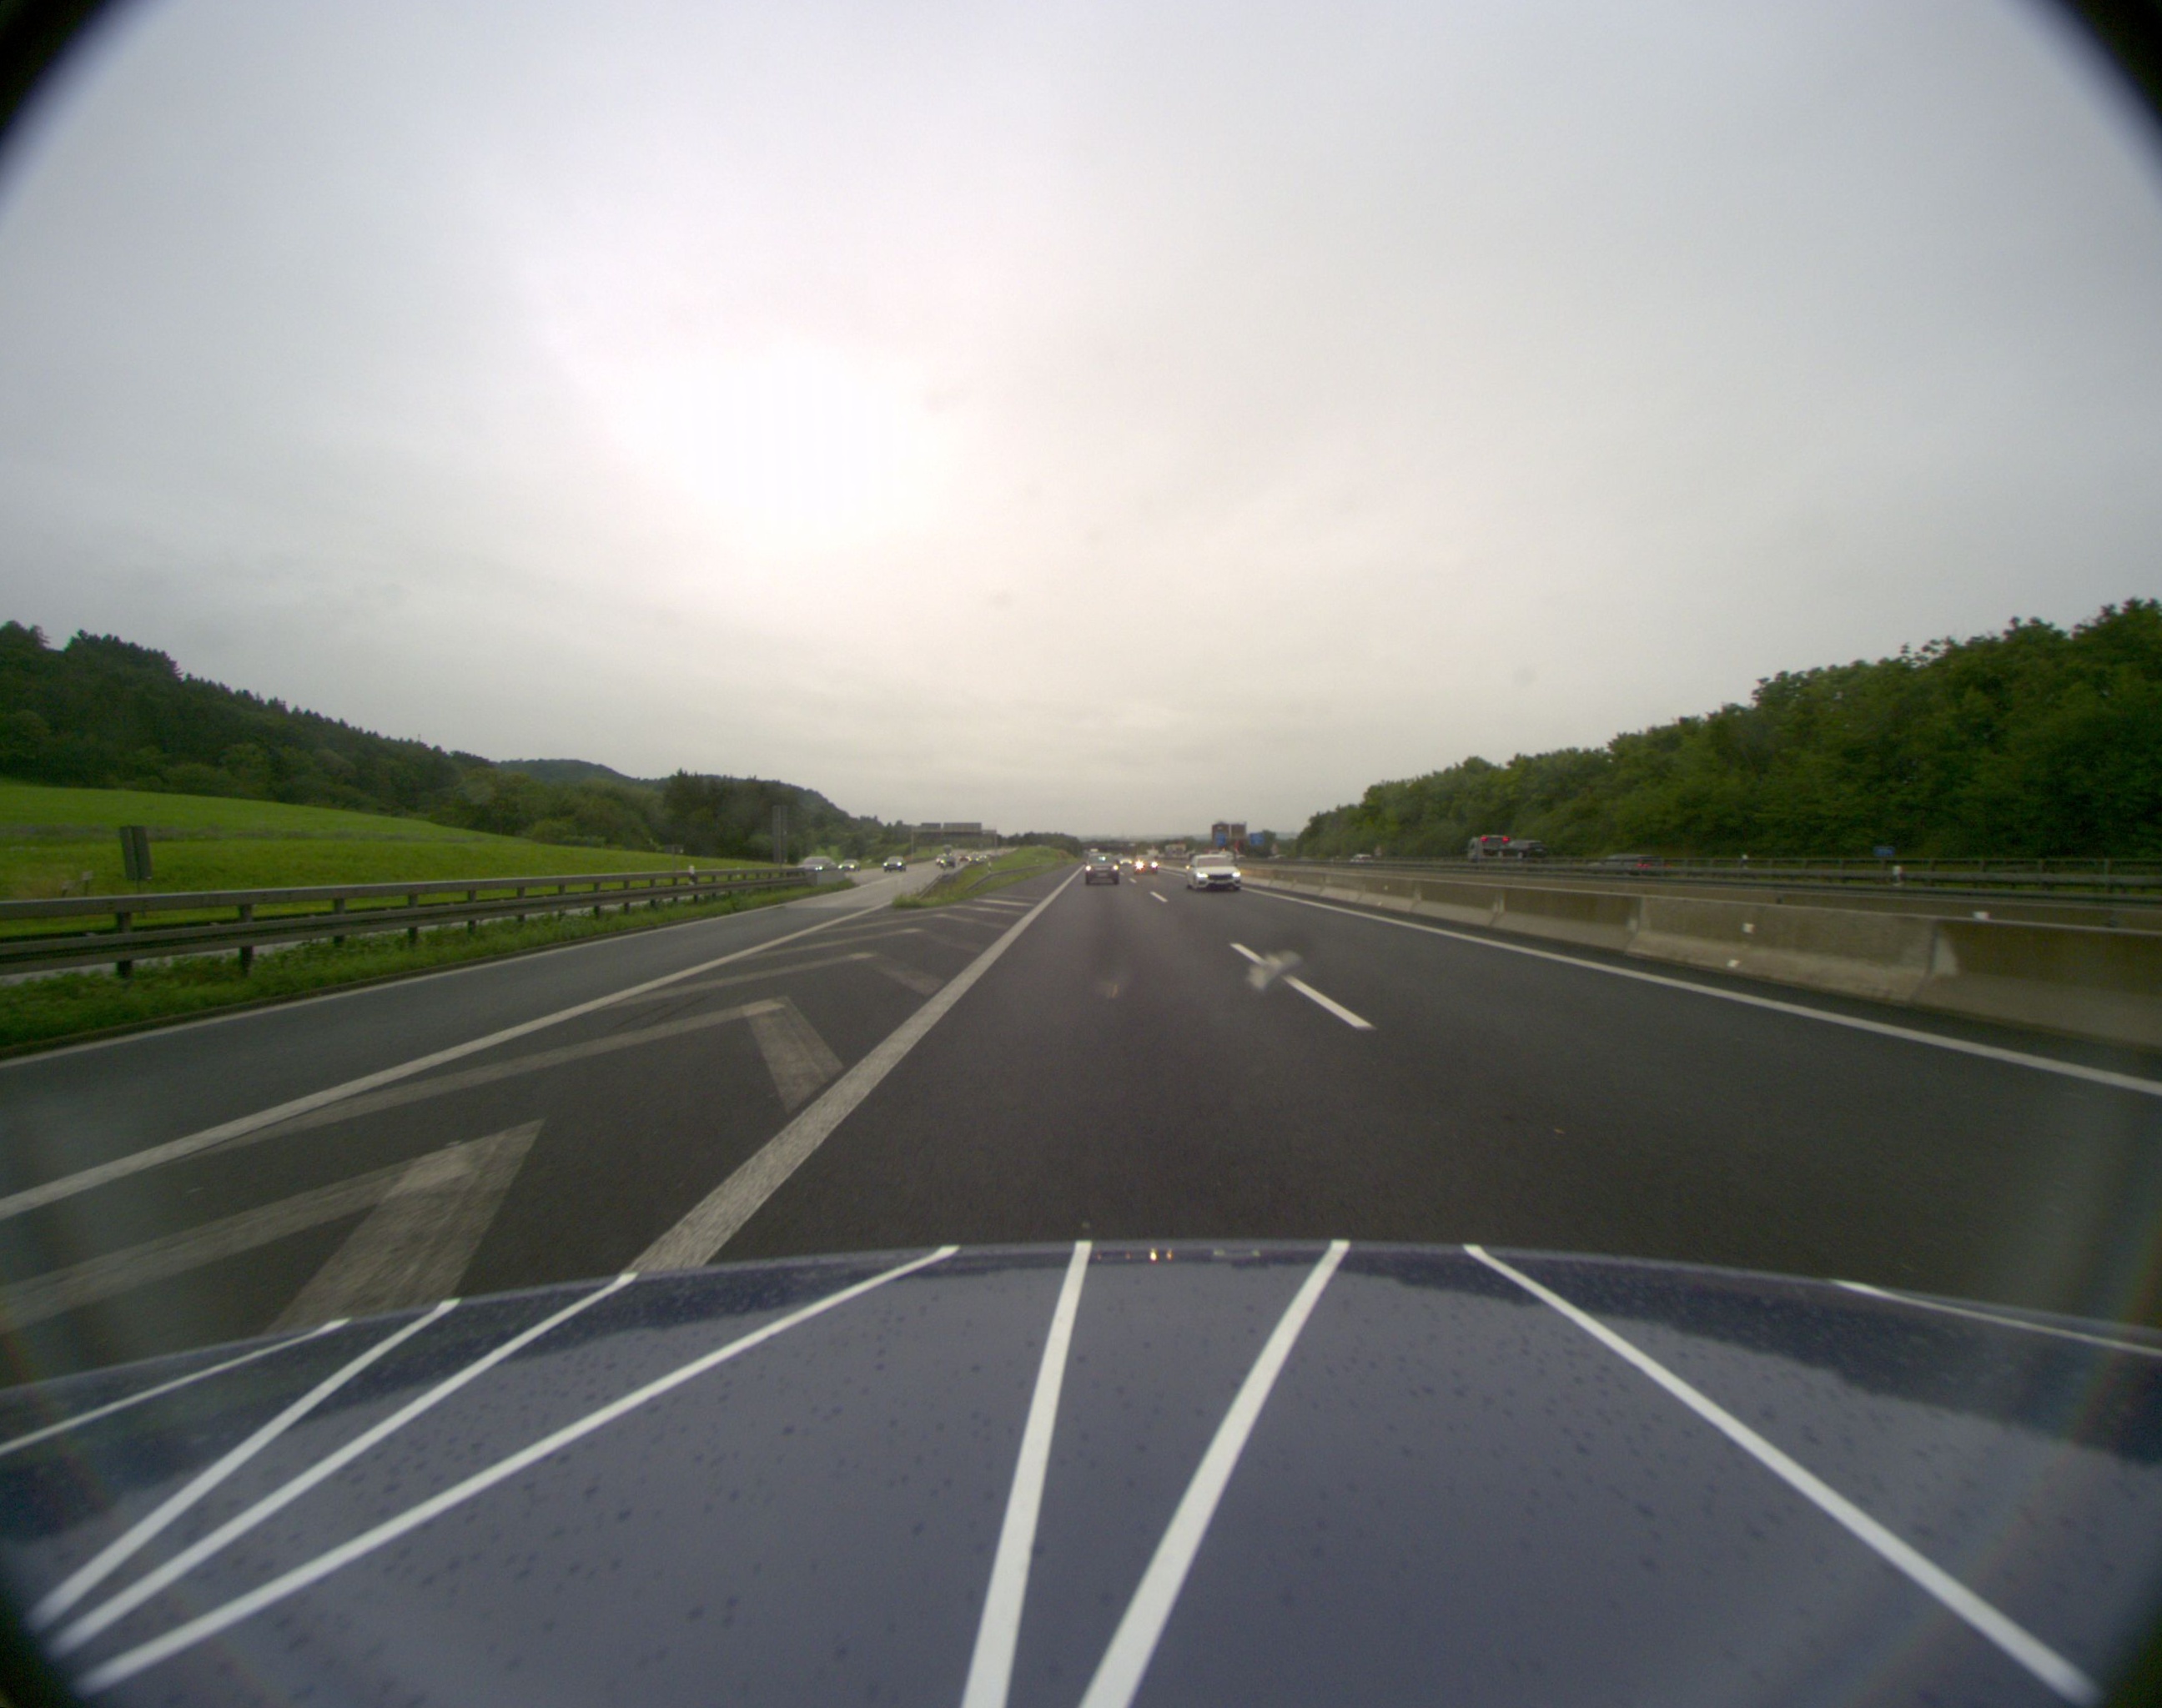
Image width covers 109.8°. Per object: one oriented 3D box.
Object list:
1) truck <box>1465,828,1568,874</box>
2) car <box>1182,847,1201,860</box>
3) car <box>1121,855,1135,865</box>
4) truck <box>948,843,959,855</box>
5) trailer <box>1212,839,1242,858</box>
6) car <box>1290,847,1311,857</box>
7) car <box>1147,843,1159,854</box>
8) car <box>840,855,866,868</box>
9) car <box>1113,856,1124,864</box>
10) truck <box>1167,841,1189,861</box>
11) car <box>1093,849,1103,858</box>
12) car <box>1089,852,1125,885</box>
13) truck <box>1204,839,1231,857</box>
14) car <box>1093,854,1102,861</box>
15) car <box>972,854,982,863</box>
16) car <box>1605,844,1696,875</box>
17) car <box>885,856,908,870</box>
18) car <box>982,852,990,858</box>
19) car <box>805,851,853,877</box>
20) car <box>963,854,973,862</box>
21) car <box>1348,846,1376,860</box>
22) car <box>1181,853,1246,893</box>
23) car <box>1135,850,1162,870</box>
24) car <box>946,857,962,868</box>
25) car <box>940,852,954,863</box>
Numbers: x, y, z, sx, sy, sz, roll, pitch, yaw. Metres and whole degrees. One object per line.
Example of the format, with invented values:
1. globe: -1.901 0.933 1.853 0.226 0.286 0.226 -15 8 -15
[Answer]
1. truck: 33.406 -0.259 58.837 2.858 3.202 9.078 -2 1 1
2. car: 14.913 -0.056 102.973 1.874 1.672 4.777 -2 1 0
3. car: 7.179 0.919 115.691 1.726 1.481 4.566 -2 1 0
4. truck: -43.418 -1.806 259.042 2.800 3.878 10.022 -2 1 -5
5. trailer: 19.027 -0.767 99.575 2.582 2.327 7.946 -2 1 1
6. car: 33.778 -0.257 117.264 1.823 1.448 4.777 -2 1 0
7. car: 16.441 -1.329 173.486 2.135 2.309 5.691 -2 1 0
8. car: -27.161 0.885 90.679 1.904 1.446 4.708 -2 1 -3
9. car: 7.304 1.227 148.663 1.726 1.481 4.566 -2 1 0
10. truck: 21.072 -0.712 165.344 2.933 3.855 16.089 -2 1 1
11. car: 4.091 -0.114 183.197 2.016 1.994 4.566 -2 1 0
12. car: 1.390 0.741 41.049 1.813 1.571 3.834 -2 1 1
13. truck: 19.200 -0.850 107.123 2.582 2.327 7.341 -2 1 1
14. car: 3.926 0.843 177.320 1.919 1.481 4.566 -2 1 0
15. car: -22.323 0.936 163.512 1.914 1.684 4.716 -2 1 -5
16. car: 28.832 0.230 38.624 1.680 1.448 4.000 -2 1 1
17. car: -19.483 0.919 80.242 1.672 1.375 4.124 -2 1 -5
18. car: -26.578 0.257 212.693 1.914 1.684 4.716 -2 1 -5
19. car: -16.808 0.640 50.912 1.775 1.600 4.641 -2 1 -3
20. car: -27.208 0.895 183.278 1.914 1.684 4.716 -2 1 -5
21. car: 34.262 -0.162 92.715 1.662 1.572 4.777 -2 1 0
22. car: 5.429 0.723 31.631 1.823 1.448 4.777 -2 1 0
23. car: 5.291 0.455 60.009 1.726 1.481 4.566 -2 1 1
24. car: -17.605 1.117 105.233 1.868 1.349 4.564 -2 1 -6
25. car: -23.940 0.609 135.579 1.914 1.684 4.716 -2 1 -4
